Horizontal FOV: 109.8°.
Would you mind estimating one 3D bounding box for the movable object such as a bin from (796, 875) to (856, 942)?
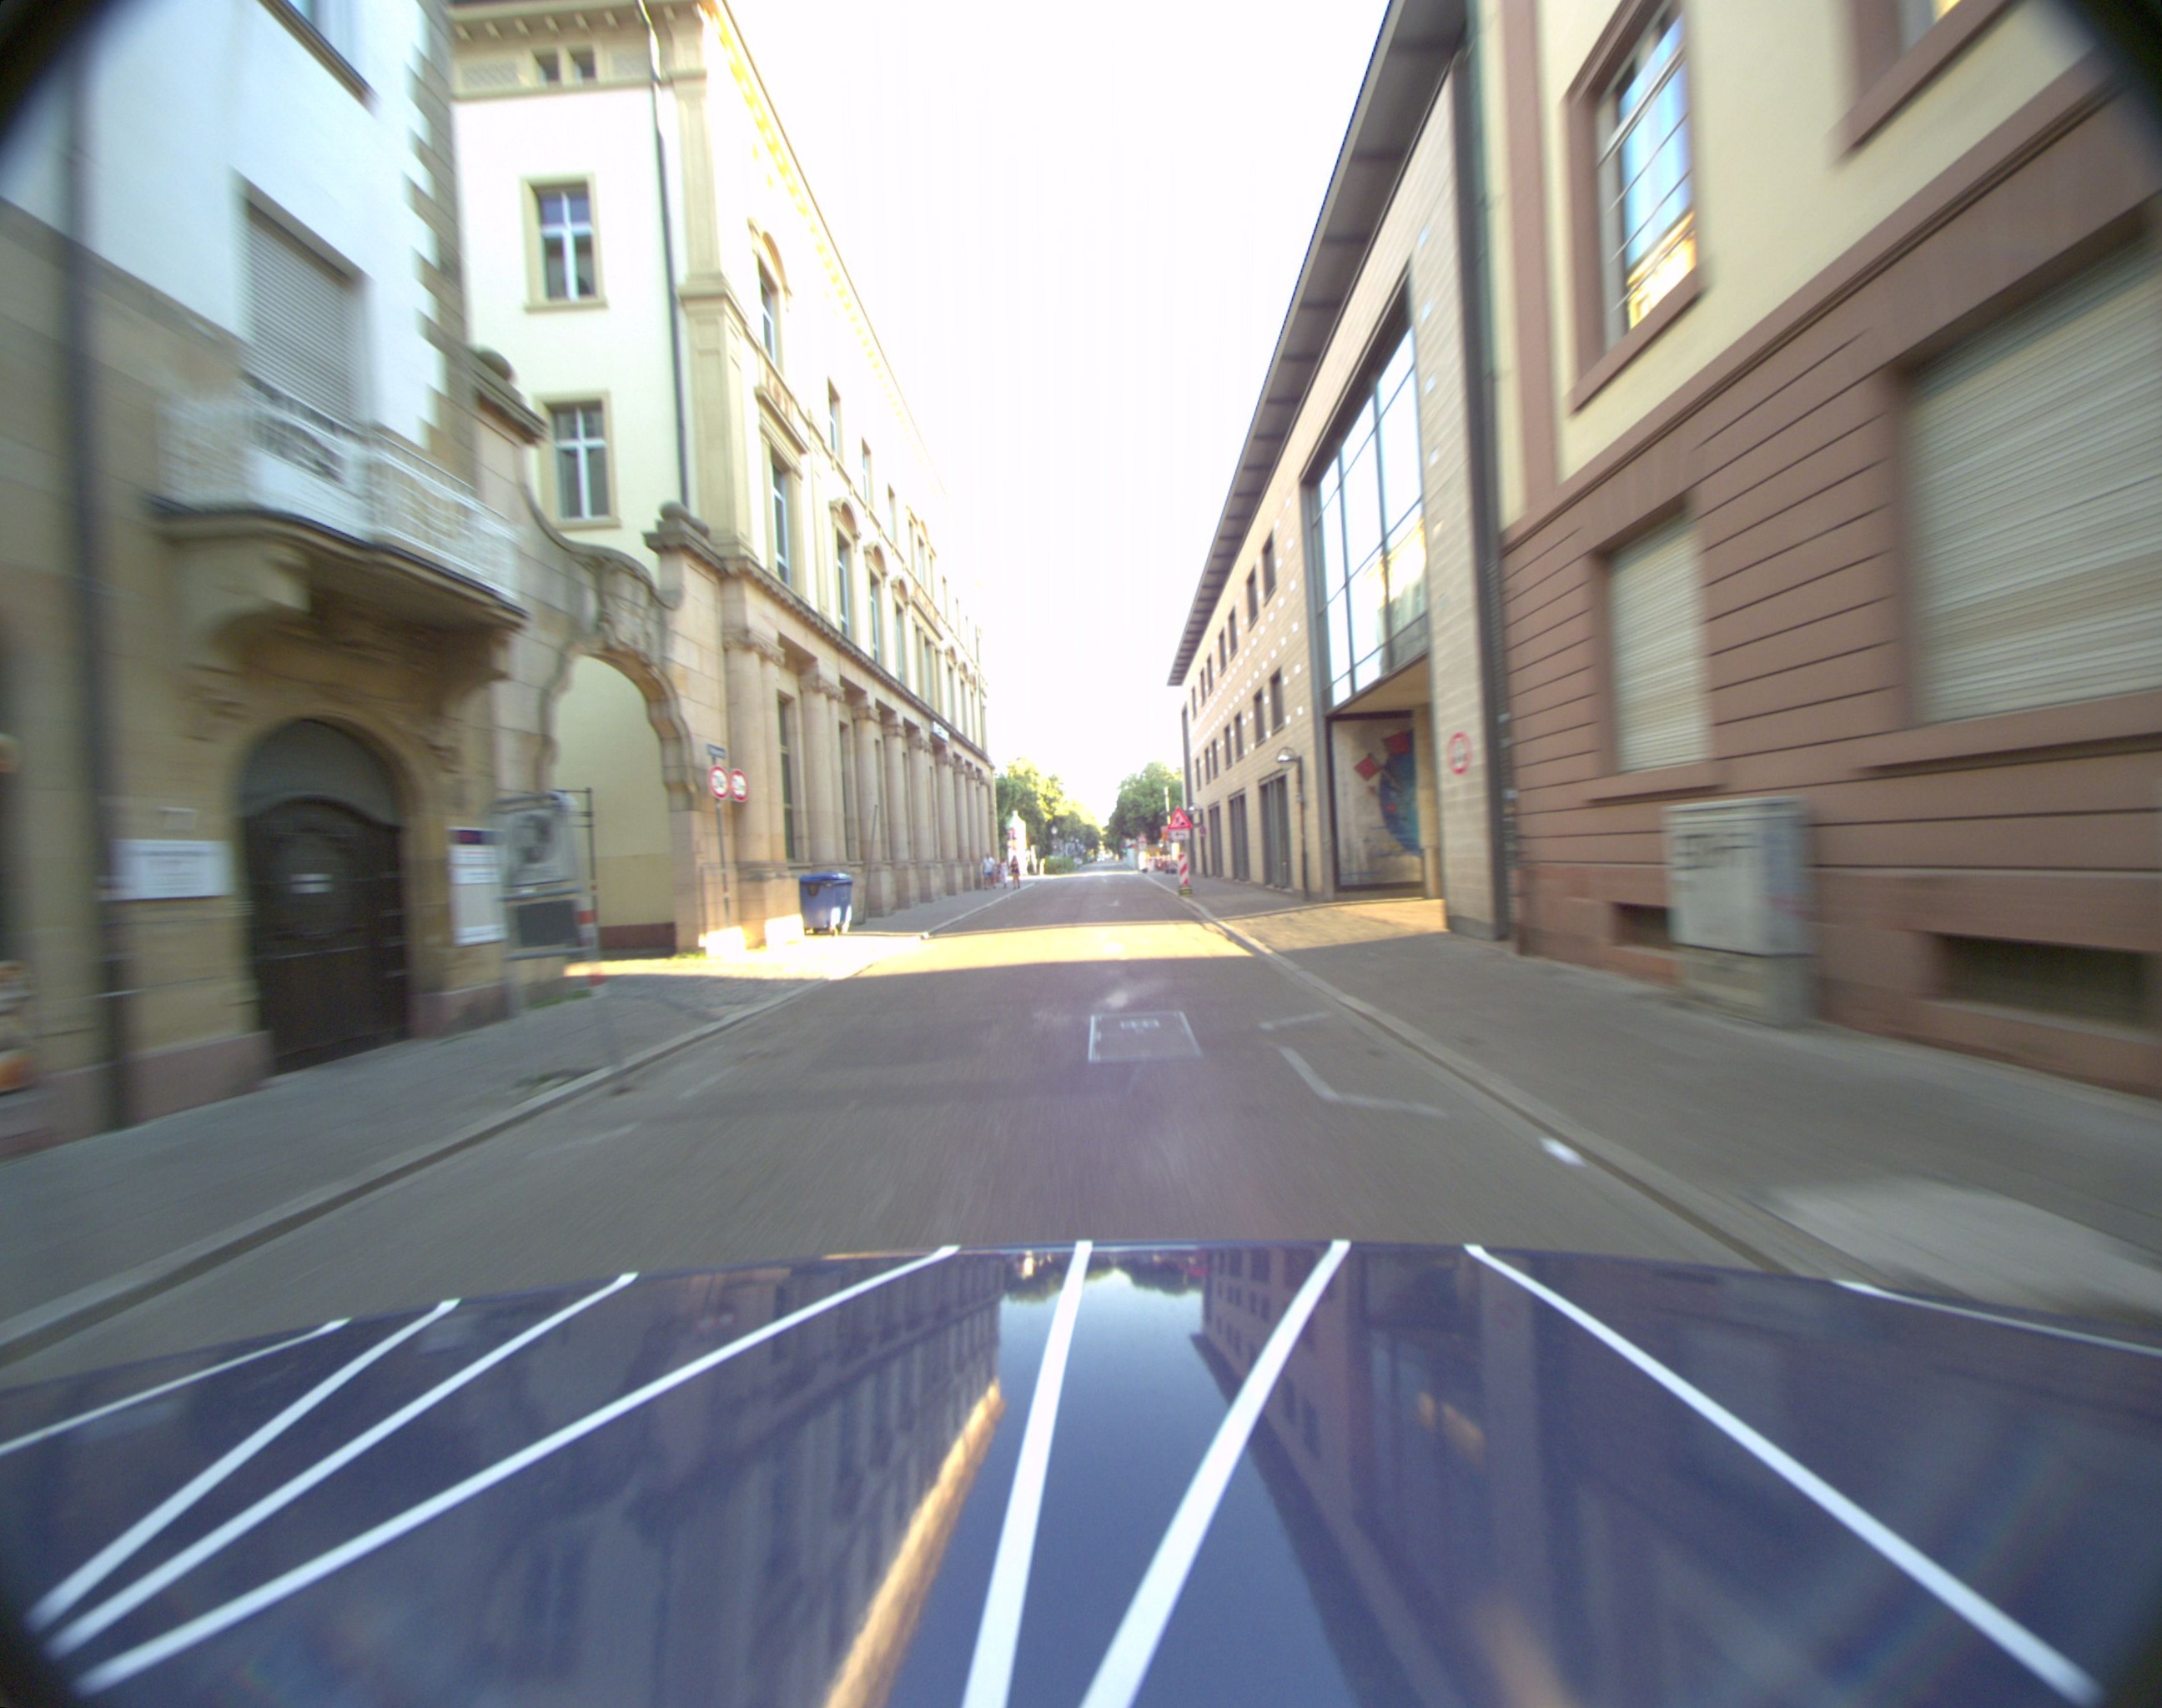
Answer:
[{"bbox_3d":[-5.527,1.161,16.517,0.898,1.367,1.137,0,1,0],"label":"movable object such as a bin"}]

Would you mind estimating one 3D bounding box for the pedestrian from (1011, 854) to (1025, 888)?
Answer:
[{"bbox_3d":[-3.112,0.822,37.636,0.649,1.643,0.758,0,1,-1],"label":"pedestrian"}]

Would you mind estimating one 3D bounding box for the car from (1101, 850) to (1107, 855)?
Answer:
[{"bbox_3d":[7.327,-0.409,241.009,1.858,1.519,4.000,-3,0,2],"label":"car"}]

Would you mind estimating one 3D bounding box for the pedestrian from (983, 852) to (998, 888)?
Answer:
[{"bbox_3d":[-4.452,0.781,37.521,0.649,1.768,0.758,0,1,-1],"label":"pedestrian"}]

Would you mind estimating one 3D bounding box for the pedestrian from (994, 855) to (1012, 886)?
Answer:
[{"bbox_3d":[-3.995,0.838,38.952,0.856,1.589,0.924,0,1,-1],"label":"pedestrian"}]
